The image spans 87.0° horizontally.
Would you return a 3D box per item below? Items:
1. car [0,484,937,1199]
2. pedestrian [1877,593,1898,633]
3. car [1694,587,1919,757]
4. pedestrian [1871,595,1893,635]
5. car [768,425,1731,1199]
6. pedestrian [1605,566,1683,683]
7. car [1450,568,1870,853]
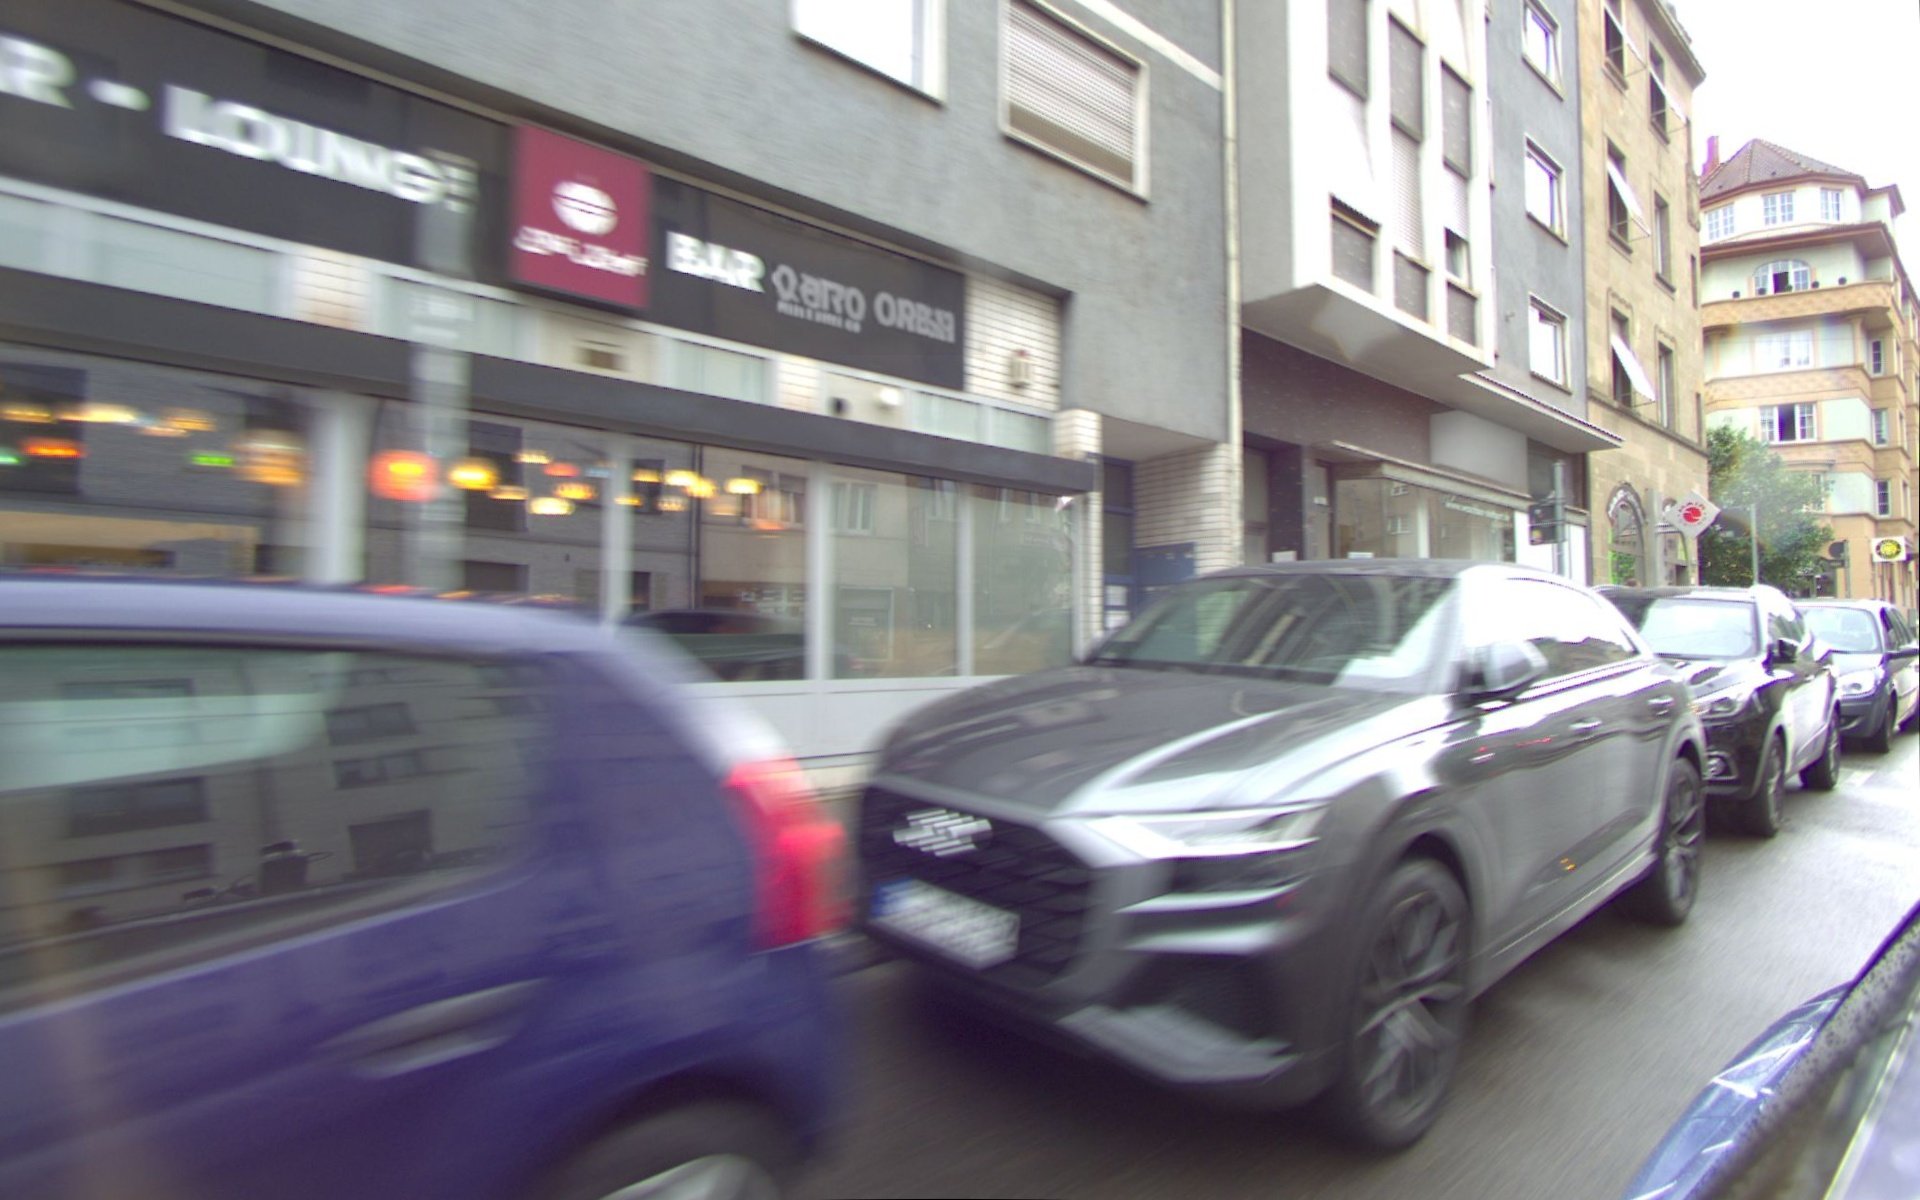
[{"bbox_3d":[-1.993,0.616,1.317,1.691,1.501,3.867,1,0,44],"label":"car"},{"bbox_3d":[37.418,0.511,40.828,0.390,1.592,0.578,1,-2,-42],"label":"pedestrian"},{"bbox_3d":[10.269,0.690,11.938,4.441,1.634,1.713,0,1,-42],"label":"car"},{"bbox_3d":[37.065,0.589,40.694,0.430,1.592,0.578,1,-2,-42],"label":"pedestrian"},{"bbox_3d":[1.606,0.546,4.249,4.488,1.783,1.795,0,-1,-42],"label":"car"},{"bbox_3d":[11.100,0.377,16.427,0.832,1.840,0.851,0,0,-41],"label":"pedestrian"},{"bbox_3d":[5.706,0.635,8.038,4.177,1.675,1.820,0,1,-42],"label":"car"}]
